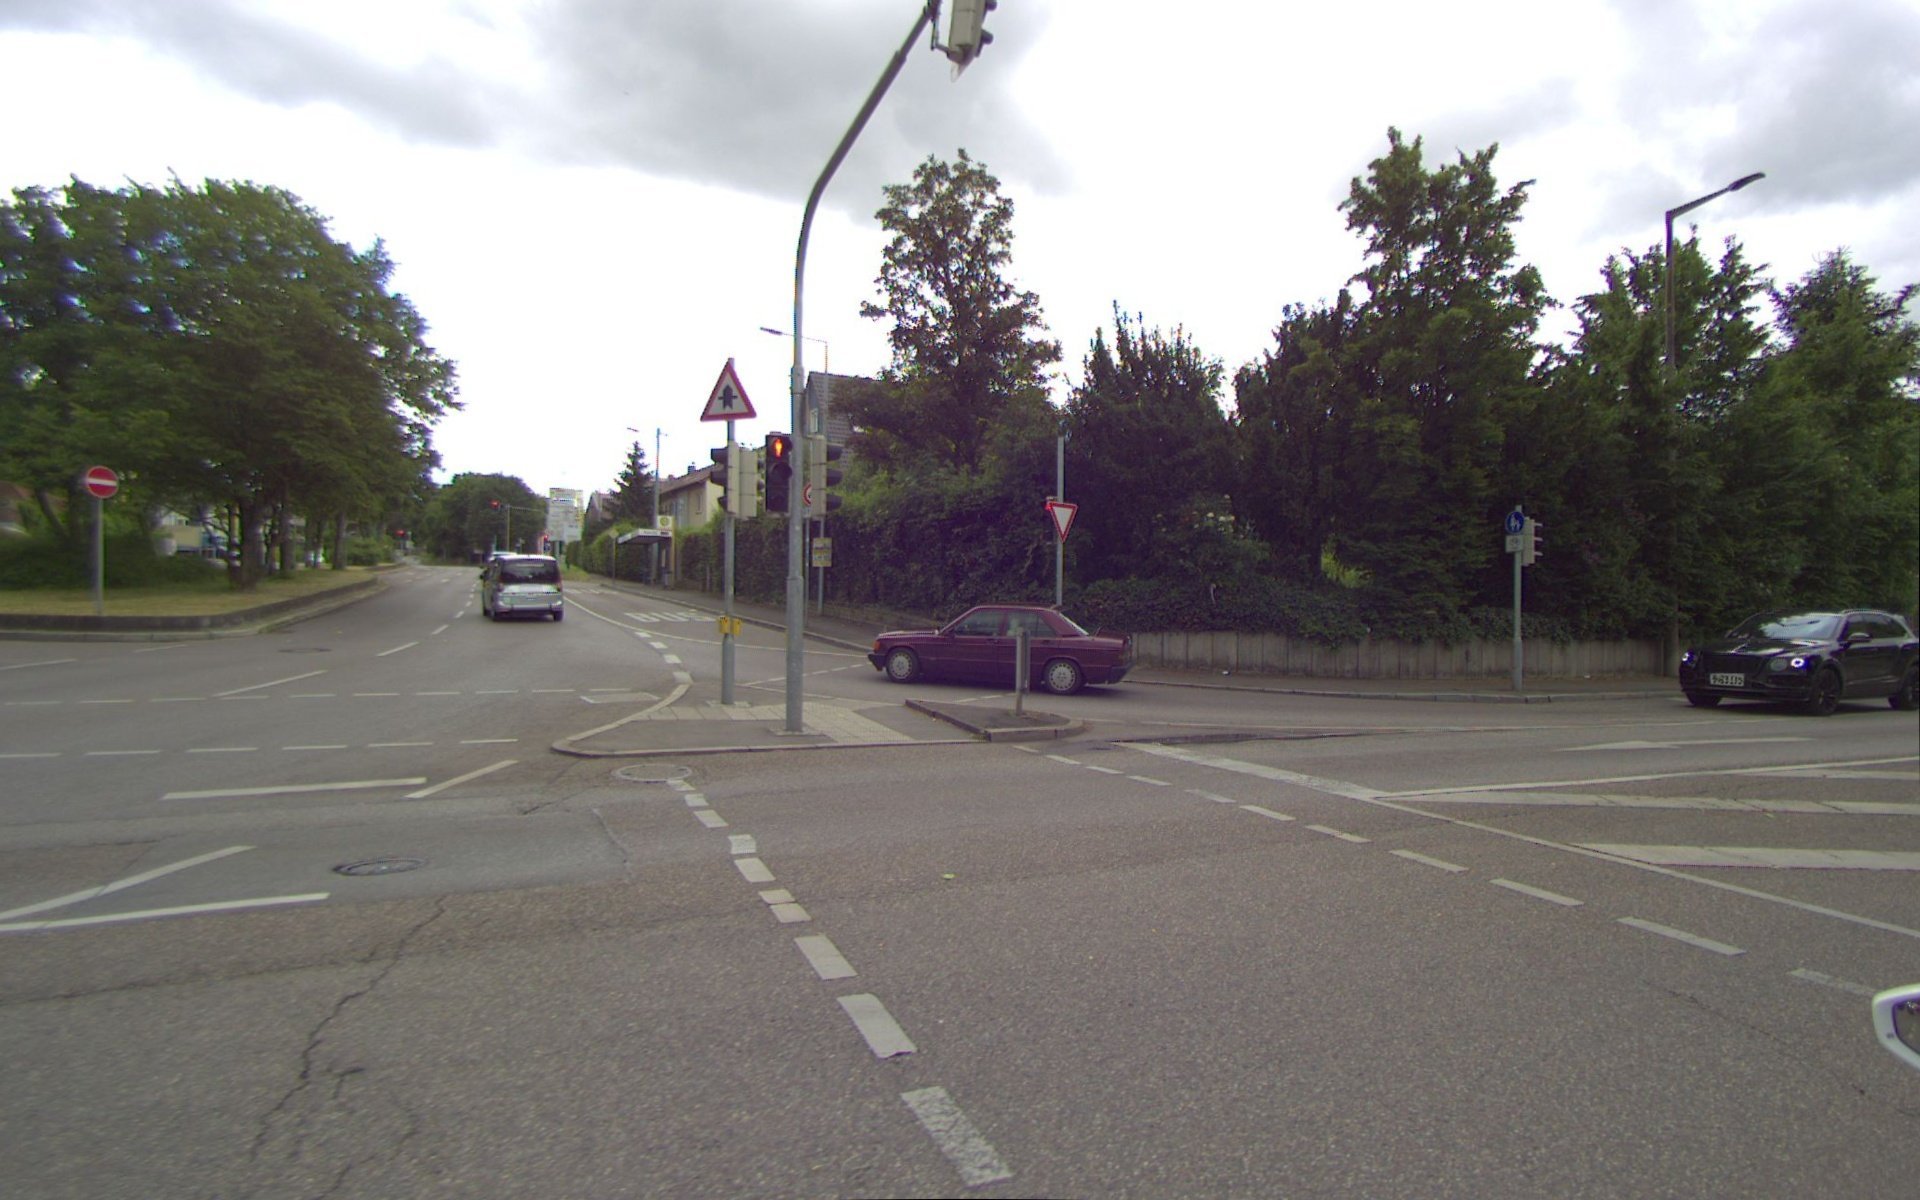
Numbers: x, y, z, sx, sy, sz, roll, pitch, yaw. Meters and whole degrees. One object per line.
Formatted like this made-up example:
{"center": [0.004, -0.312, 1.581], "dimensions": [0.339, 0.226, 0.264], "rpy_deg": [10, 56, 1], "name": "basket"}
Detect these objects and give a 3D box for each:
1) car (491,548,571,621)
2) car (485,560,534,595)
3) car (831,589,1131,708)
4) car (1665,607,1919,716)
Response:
{"center": [-12.422, -0.417, 29.162], "dimensions": [1.921, 1.899, 4.516], "rpy_deg": [2, 0, -23], "name": "car"}
{"center": [-20.515, -0.998, 45.644], "dimensions": [1.923, 1.442, 4.512], "rpy_deg": [2, 0, -25], "name": "car"}
{"center": [0.375, 0.674, 15.320], "dimensions": [4.255, 1.484, 1.748], "rpy_deg": [3, 0, 13], "name": "car"}
{"center": [14.917, 1.027, 17.684], "dimensions": [5.013, 1.701, 1.896], "rpy_deg": [2, -1, -26], "name": "car"}
